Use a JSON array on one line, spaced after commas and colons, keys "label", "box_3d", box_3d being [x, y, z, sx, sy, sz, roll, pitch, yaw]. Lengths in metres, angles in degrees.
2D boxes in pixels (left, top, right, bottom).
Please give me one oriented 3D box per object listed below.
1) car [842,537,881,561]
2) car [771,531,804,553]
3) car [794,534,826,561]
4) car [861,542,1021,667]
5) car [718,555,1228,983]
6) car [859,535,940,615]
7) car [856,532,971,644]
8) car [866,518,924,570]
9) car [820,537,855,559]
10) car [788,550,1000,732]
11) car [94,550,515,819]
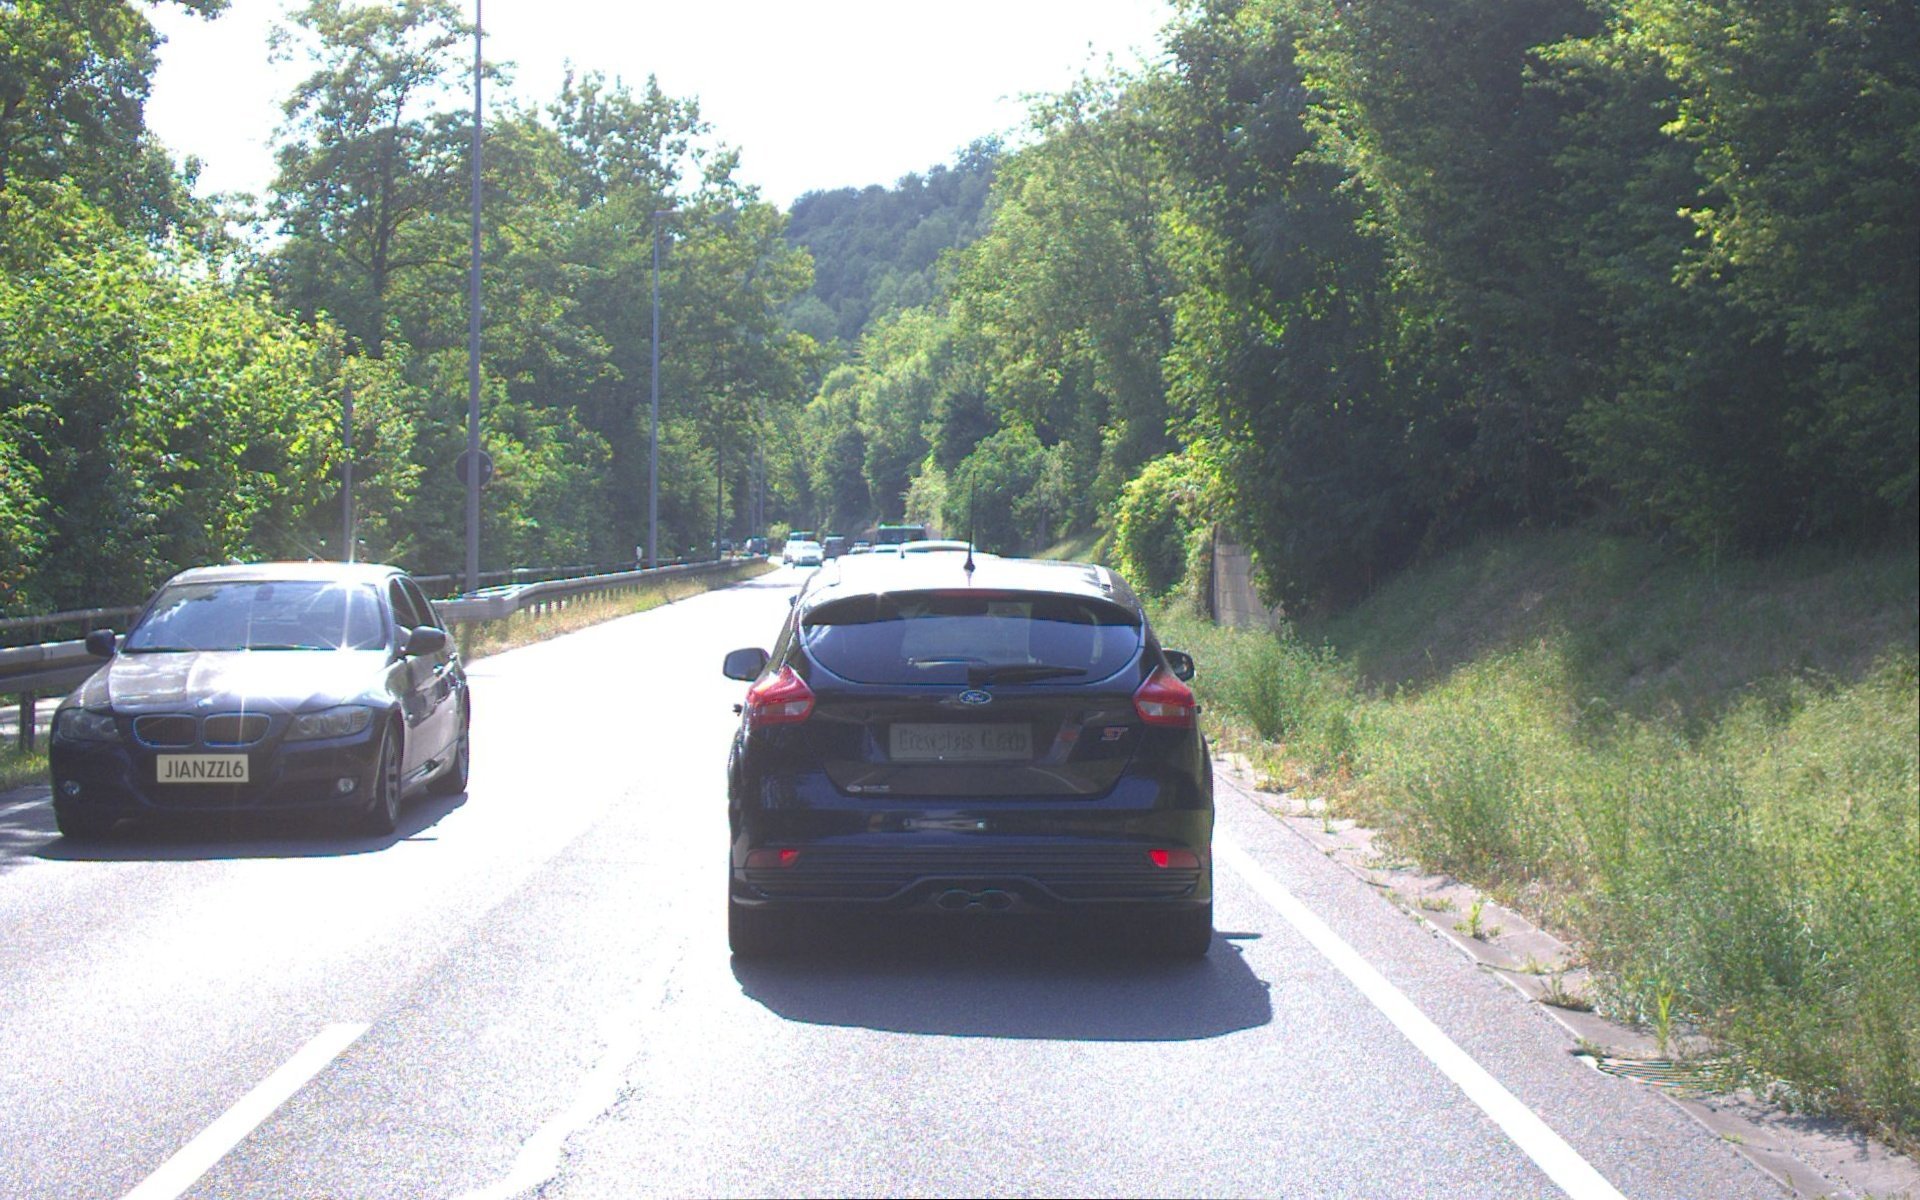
[{"label": "car", "box_3d": [-6.227, -3.231, 216.701, 1.993, 1.514, 4.001, 0, 1, -8]}, {"label": "car", "box_3d": [-11.304, -3.796, 225.199, 1.681, 1.458, 4.199, 0, 1, -10]}, {"label": "car", "box_3d": [-8.113, -2.847, 186.531, 1.623, 1.372, 4.048, -2, 1, -1]}, {"label": "car", "box_3d": [-0.235, 0.018, 40.705, 1.804, 1.387, 4.000, 0, 1, -1]}, {"label": "car", "box_3d": [0.021, 0.553, 13.766, 1.739, 1.451, 4.000, 0, 1, -1]}, {"label": "car", "box_3d": [-1.237, -0.536, 71.169, 1.631, 1.590, 4.000, 0, 1, -1]}, {"label": "car", "box_3d": [-0.677, -0.210, 50.763, 1.631, 1.590, 4.000, 0, 1, -1]}, {"label": "car", "box_3d": [-2.302, -1.983, 120.656, 1.863, 1.774, 4.001, 0, 1, -4]}, {"label": "car", "box_3d": [-8.461, -3.594, 237.518, 1.993, 1.514, 4.001, 0, 1, -8]}, {"label": "car", "box_3d": [-0.493, 0.291, 28.994, 1.661, 1.413, 4.000, 0, 1, 1]}, {"label": "car", "box_3d": [-3.779, 0.422, 20.494, 1.691, 1.415, 4.142, 0, 1, 0]}]
